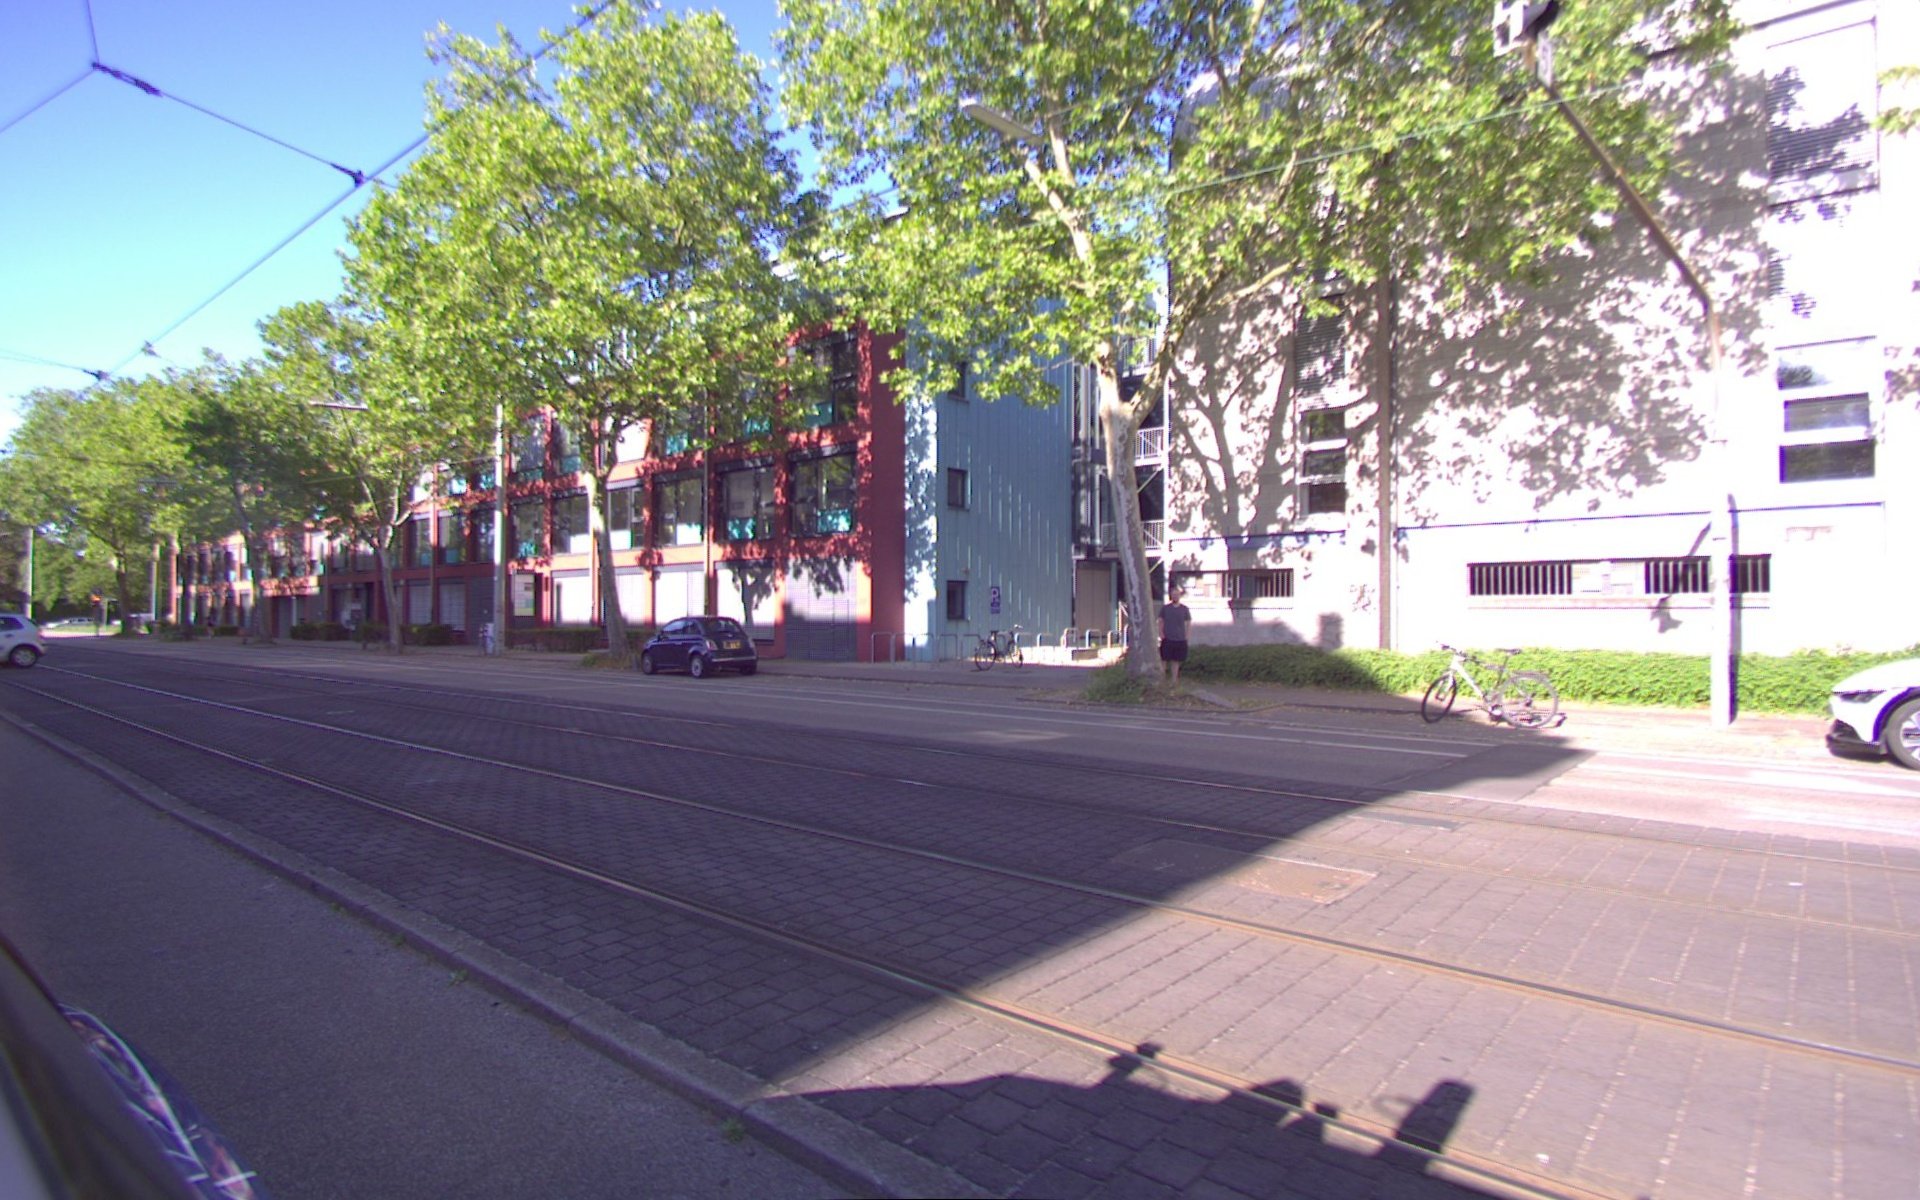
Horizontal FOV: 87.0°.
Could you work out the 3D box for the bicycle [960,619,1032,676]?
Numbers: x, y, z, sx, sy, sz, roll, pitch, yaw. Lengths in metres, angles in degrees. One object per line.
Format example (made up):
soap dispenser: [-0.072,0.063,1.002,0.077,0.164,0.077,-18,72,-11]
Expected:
bicycle: [0.909,1.152,25.046,0.664,1.288,1.987,-2,0,41]

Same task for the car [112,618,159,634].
car: [-99.554,3.094,122.228,1.817,1.881,4.254,-1,-1,43]

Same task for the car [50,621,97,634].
car: [-101.831,3.161,116.286,3.940,1.444,1.818,1,-2,-44]

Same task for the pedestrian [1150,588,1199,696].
pedestrian: [3.852,0.736,18.168,0.779,1.884,0.668,-2,0,13]

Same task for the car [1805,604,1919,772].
car: [11.115,0.825,9.596,4.689,1.584,1.992,-2,0,40]

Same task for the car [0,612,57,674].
car: [-25.683,1.163,25.513,1.754,1.529,4.023,0,2,35]

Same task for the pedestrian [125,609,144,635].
pedestrian: [-64.638,1.725,79.276,0.778,2.029,0.903,-2,0,32]

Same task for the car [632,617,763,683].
car: [-6.563,1.208,25.150,3.463,1.464,1.491,-2,0,43]

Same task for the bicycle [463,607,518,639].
bicycle: [-20.379,0.984,43.953,0.619,1.282,2.039,-2,0,45]

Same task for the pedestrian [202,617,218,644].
pedestrian: [-49.272,1.984,66.492,0.900,1.731,0.619,-1,1,40]

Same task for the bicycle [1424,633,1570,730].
bicycle: [7.201,1.063,13.596,1.650,1.218,0.576,-2,0,35]
